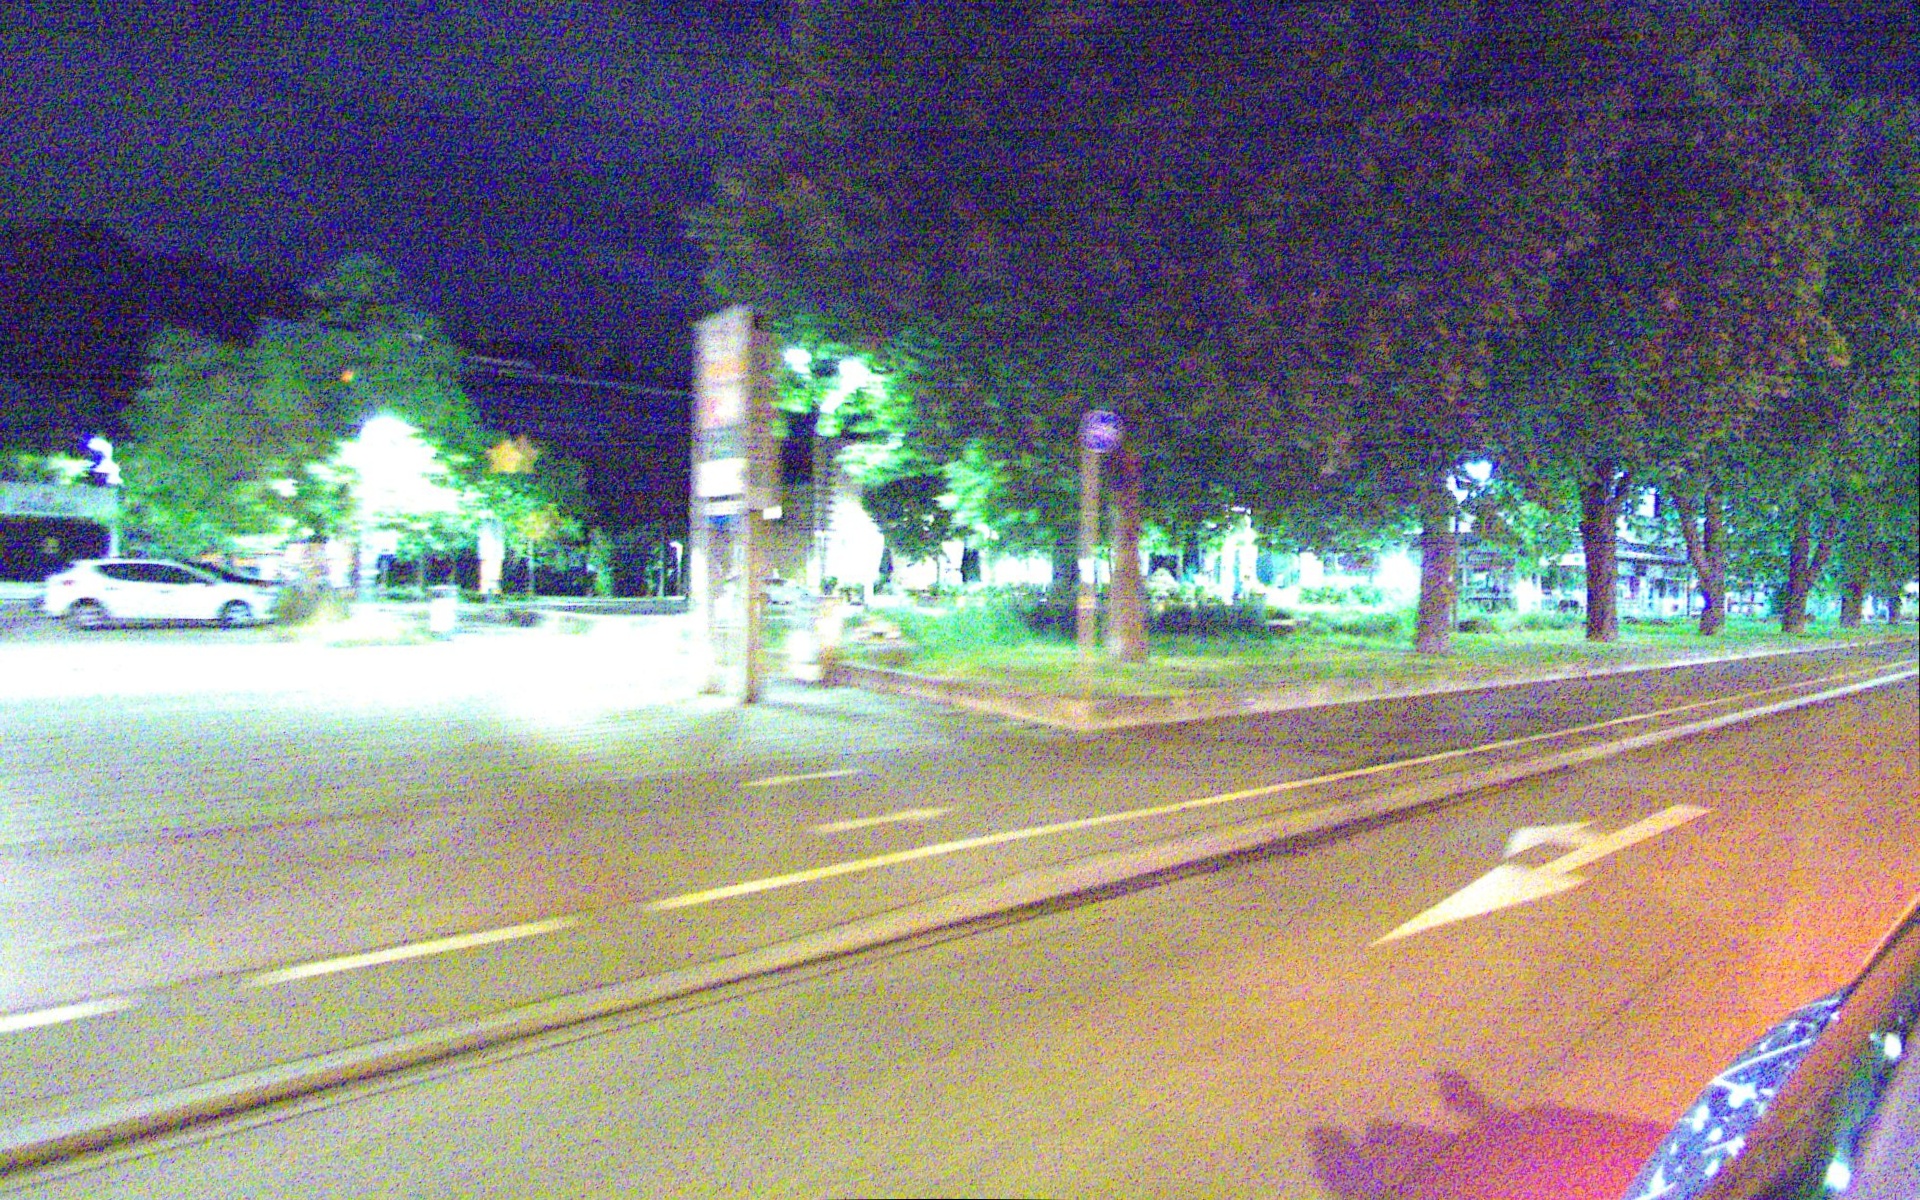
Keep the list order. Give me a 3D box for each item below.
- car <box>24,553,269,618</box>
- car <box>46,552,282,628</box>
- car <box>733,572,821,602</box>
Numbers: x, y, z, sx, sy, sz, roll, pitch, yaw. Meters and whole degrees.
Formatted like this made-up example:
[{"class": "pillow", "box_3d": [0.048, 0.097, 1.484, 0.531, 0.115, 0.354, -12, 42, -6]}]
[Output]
[{"class": "car", "box_3d": [-20.975, -0.360, 26.290, 4.806, 1.531, 1.893, 0, 1, -41]}, {"class": "car", "box_3d": [-17.761, -0.220, 22.746, 4.025, 1.552, 1.772, 0, 1, -40]}, {"class": "car", "box_3d": [-9.812, -0.676, 54.407, 4.224, 1.527, 1.998, 1, 1, -40]}]
